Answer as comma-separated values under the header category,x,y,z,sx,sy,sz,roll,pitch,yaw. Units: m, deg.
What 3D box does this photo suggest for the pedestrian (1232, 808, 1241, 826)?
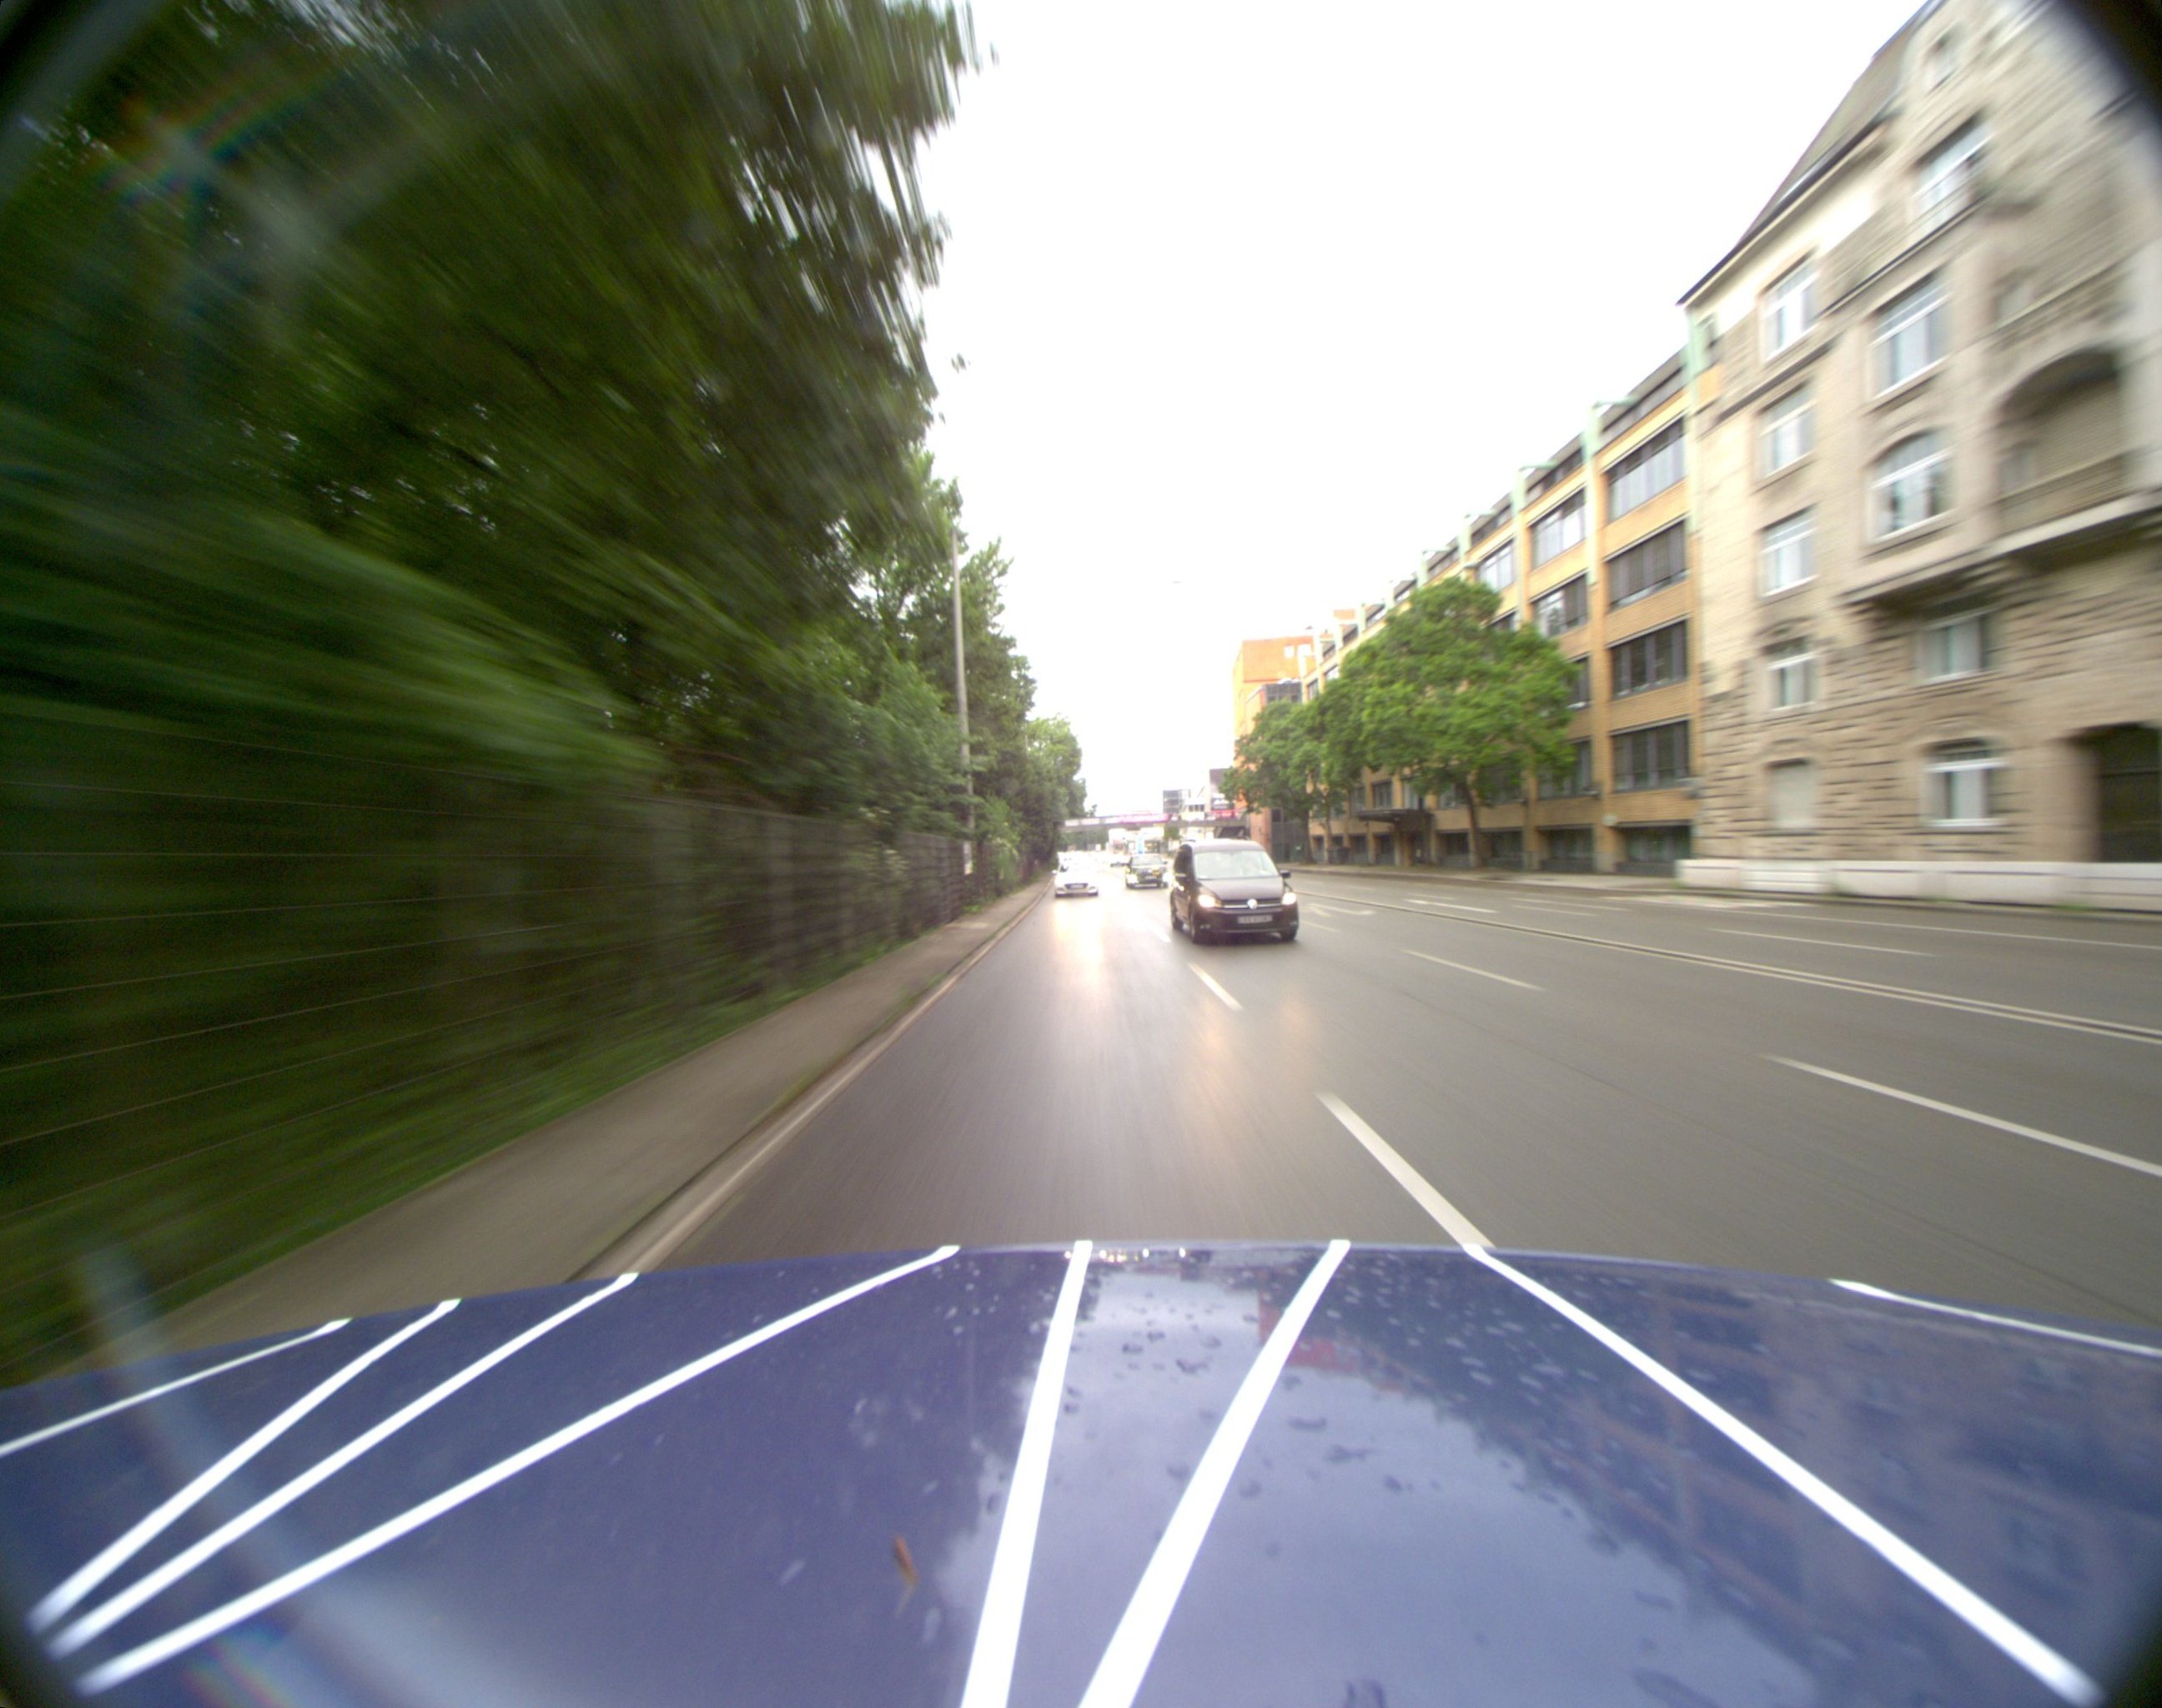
category,x,y,z,sx,sy,sz,roll,pitch,yaw
pedestrian,19.848,-4.700,96.874,0.833,2.242,0.738,-1,1,-6

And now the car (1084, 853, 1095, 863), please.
category,x,y,z,sx,sy,sz,roll,pitch,yaw
car,1.663,0.773,149.665,1.878,1.762,3.999,-4,1,0

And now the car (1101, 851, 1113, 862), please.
category,x,y,z,sx,sy,sz,roll,pitch,yaw
car,4.662,0.470,137.922,1.878,1.762,3.999,-4,1,0

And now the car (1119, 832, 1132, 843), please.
category,x,y,z,sx,sy,sz,roll,pitch,yaw
car,7.246,-2.696,123.877,1.823,1.602,4.000,-4,1,5

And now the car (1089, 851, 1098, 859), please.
category,x,y,z,sx,sy,sz,roll,pitch,yaw
car,2.976,0.272,182.052,1.878,1.762,3.999,-4,1,0

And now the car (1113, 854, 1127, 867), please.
category,x,y,z,sx,sy,sz,roll,pitch,yaw
car,5.154,0.882,100.681,1.730,1.502,3.732,-3,1,4

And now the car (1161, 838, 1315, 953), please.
category,x,y,z,sx,sy,sz,roll,pitch,yaw
car,2.688,0.659,13.996,1.842,1.780,3.999,-1,0,-2

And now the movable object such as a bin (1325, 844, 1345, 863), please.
category,x,y,z,sx,sy,sz,roll,pitch,yaw
movable object such as a bin,20.319,-0.042,60.807,0.976,1.428,1.313,-4,0,-5

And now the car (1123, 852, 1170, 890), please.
category,x,y,z,sx,sy,sz,roll,pitch,yaw
car,3.062,0.742,36.067,1.731,1.604,3.999,-3,1,-1

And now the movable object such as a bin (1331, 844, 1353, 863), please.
category,x,y,z,sx,sy,sz,roll,pitch,yaw
movable object such as a bin,20.414,-0.054,59.456,1.071,1.428,1.372,-4,0,-5

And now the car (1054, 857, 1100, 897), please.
category,x,y,z,sx,sy,sz,roll,pitch,yaw
car,-0.189,0.911,31.822,1.731,1.431,3.999,-3,0,-1
